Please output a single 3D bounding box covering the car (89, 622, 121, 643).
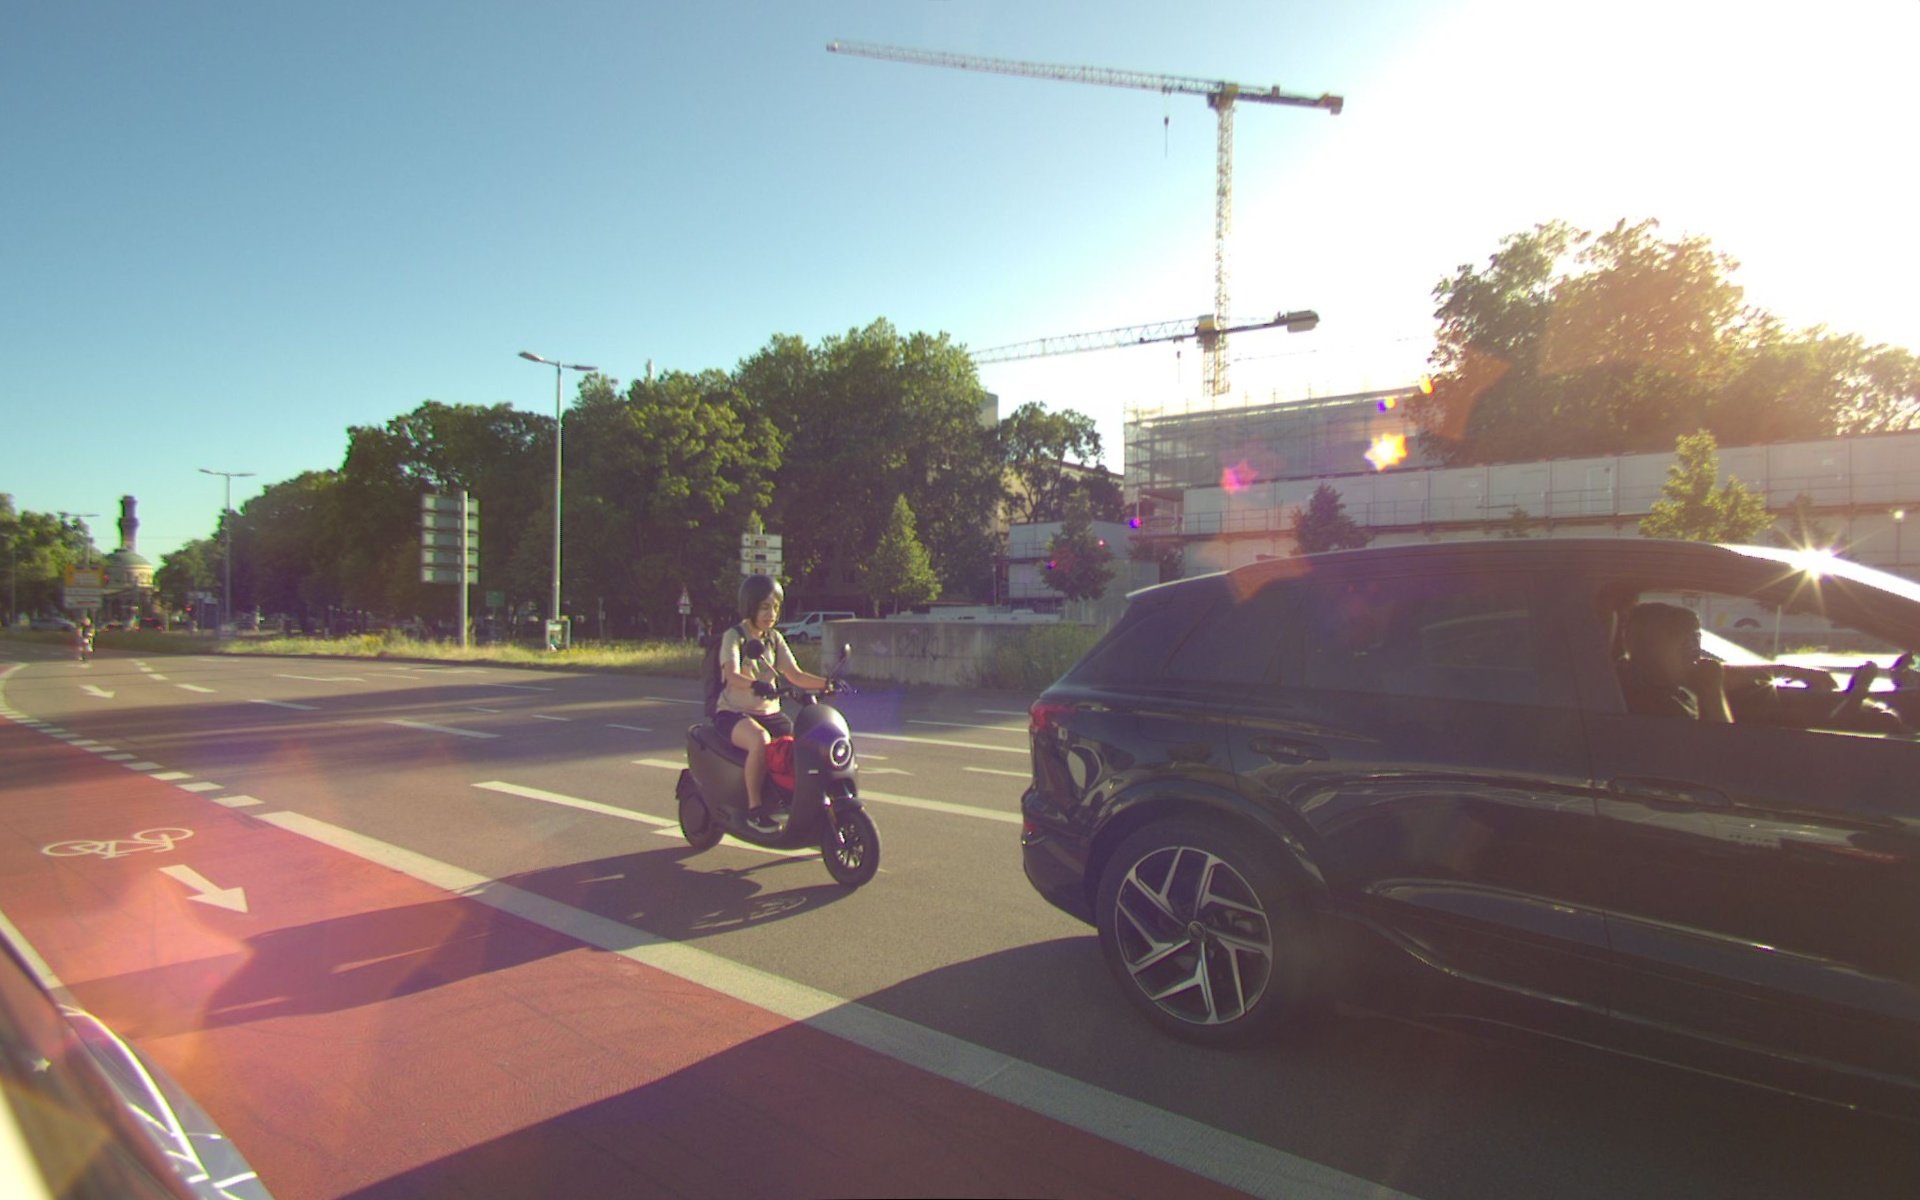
[{"bbox_3d":[-79.870,3.019,94.535,3.945,1.802,1.725,-1,0,41],"label":"car"}]

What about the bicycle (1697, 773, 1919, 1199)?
[{"bbox_3d":[1.363,0.785,0.280,1.829,1.227,0.610,-2,-1,39],"label":"bicycle"}]

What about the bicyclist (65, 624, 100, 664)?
[{"bbox_3d":[-31.291,1.555,36.094,0.829,1.358,0.843,-2,-1,41],"label":"bicyclist"}]

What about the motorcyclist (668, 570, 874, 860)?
[{"bbox_3d":[-1.082,0.596,5.771,0.917,1.485,0.717,-2,-1,41],"label":"motorcyclist"}]

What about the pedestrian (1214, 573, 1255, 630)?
[{"bbox_3d":[9.928,0.058,36.598,1.135,2.029,0.930,-1,0,35],"label":"pedestrian"}]

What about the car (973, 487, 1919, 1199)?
[{"bbox_3d":[2.413,0.577,3.027,4.677,1.647,1.753,-1,0,40],"label":"car"}]

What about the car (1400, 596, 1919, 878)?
[{"bbox_3d":[4.971,0.755,6.546,3.603,1.497,1.477,-2,-1,41],"label":"car"}]

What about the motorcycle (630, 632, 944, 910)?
[{"bbox_3d":[-1.036,0.843,5.730,1.883,1.303,0.715,-2,-1,41],"label":"motorcycle"}]

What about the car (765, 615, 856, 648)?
[{"bbox_3d":[-9.063,1.918,61.846,2.065,1.950,5.443,-1,-2,42],"label":"car"}]

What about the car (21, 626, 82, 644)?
[{"bbox_3d":[-97.889,3.770,109.121,4.506,1.851,1.884,-1,0,-22],"label":"car"}]

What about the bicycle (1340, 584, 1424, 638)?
[{"bbox_3d":[9.464,0.246,22.725,1.649,1.163,0.490,-1,0,40],"label":"bicycle"}]

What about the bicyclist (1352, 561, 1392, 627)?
[{"bbox_3d":[9.303,-0.134,22.861,0.713,1.448,0.490,-1,0,39],"label":"bicyclist"}]

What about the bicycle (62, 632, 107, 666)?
[{"bbox_3d":[-31.129,1.714,35.968,2.806,1.124,0.843,-2,-1,41],"label":"bicycle"}]

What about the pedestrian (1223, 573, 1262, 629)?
[{"bbox_3d":[10.454,0.051,37.404,1.135,2.029,0.930,-1,0,35],"label":"pedestrian"}]

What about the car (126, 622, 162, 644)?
[{"bbox_3d":[-71.474,2.837,88.644,3.998,1.841,1.796,-1,0,41],"label":"car"}]

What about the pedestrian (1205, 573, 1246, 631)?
[{"bbox_3d":[9.403,0.065,35.809,1.135,2.029,0.930,-1,0,35],"label":"pedestrian"}]

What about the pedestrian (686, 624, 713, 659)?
[{"bbox_3d":[-14.138,2.246,54.974,1.018,1.845,0.976,-1,0,40],"label":"pedestrian"}]
